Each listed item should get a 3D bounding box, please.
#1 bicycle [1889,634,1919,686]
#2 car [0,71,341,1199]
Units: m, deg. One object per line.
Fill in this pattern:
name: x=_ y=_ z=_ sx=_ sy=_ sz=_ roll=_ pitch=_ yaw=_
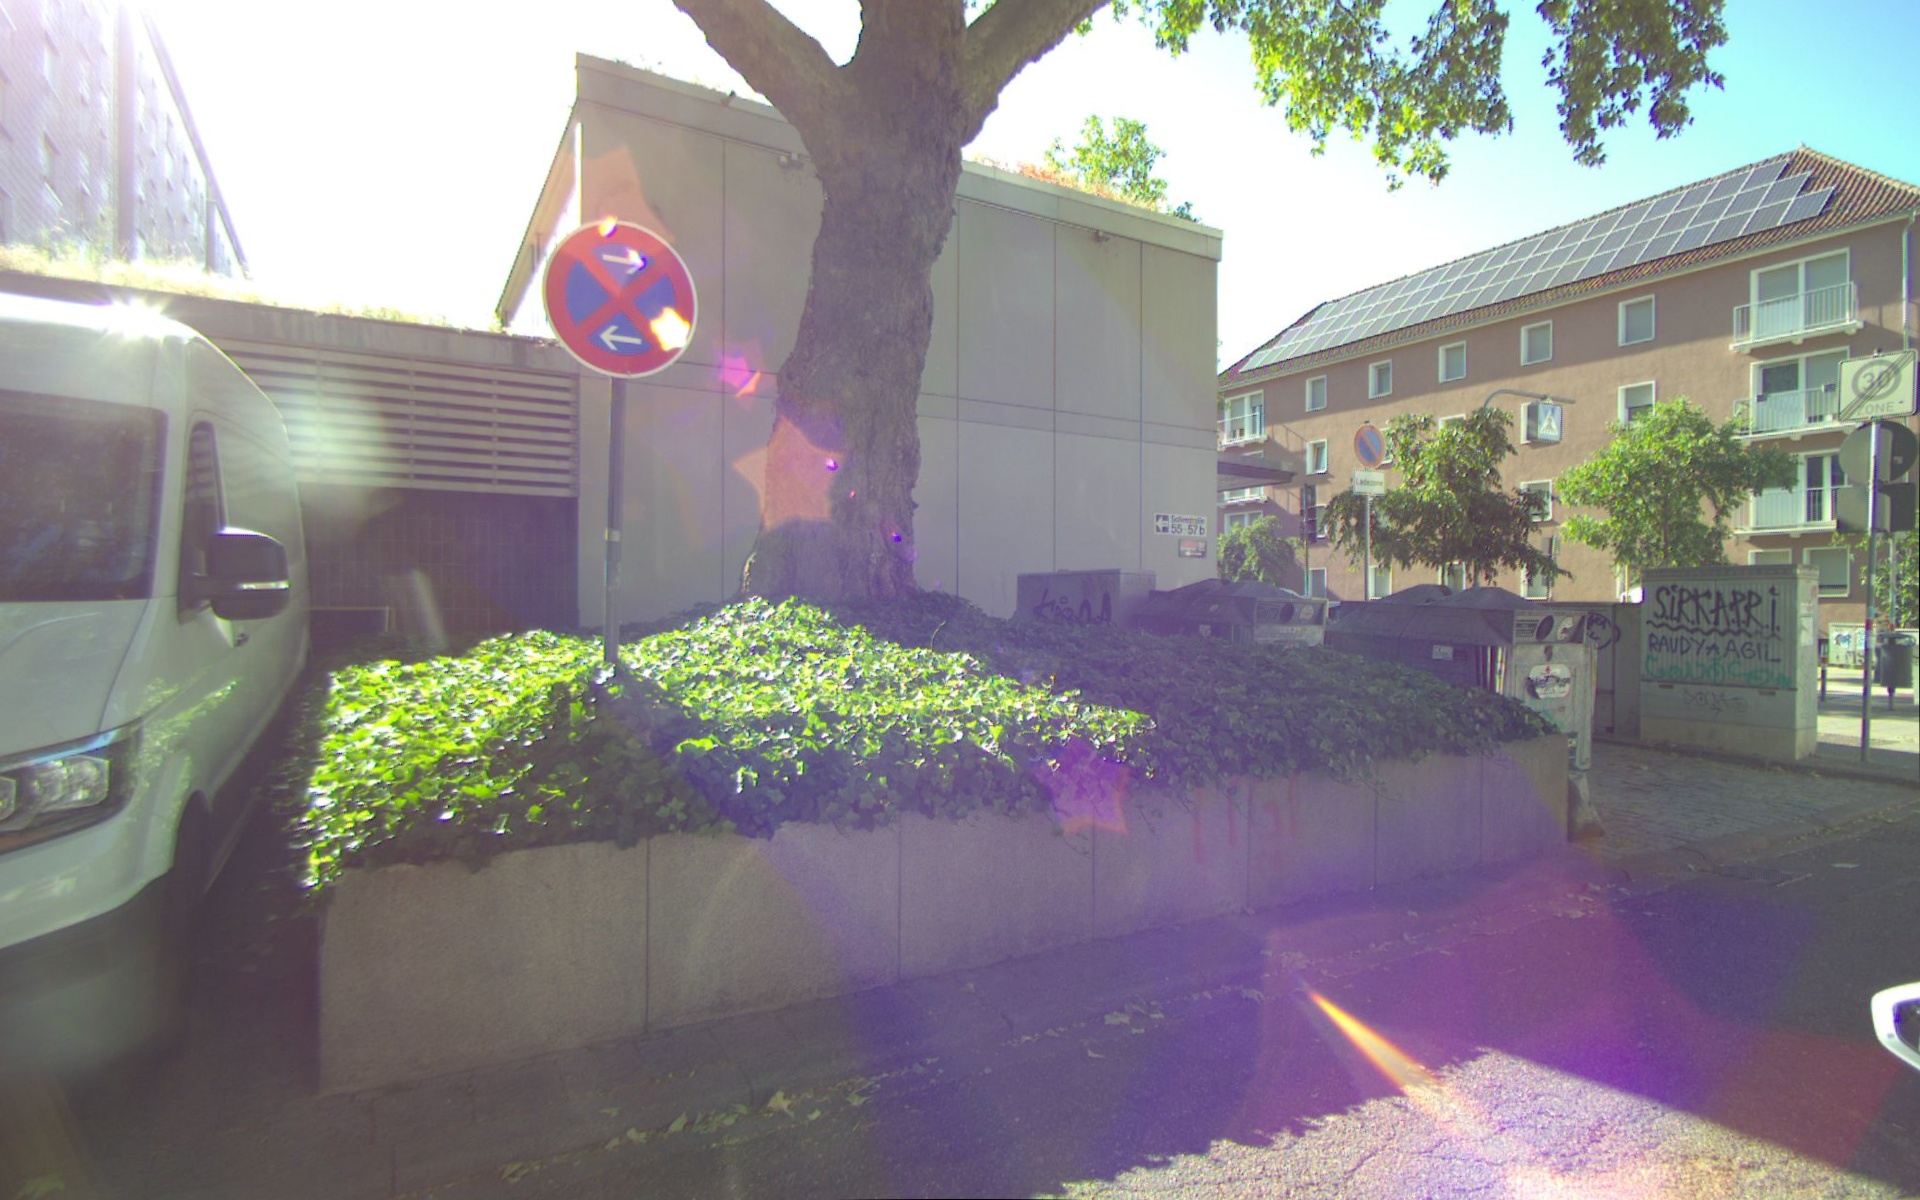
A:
bicycle: x=20.880 y=1.272 z=20.813 sx=0.776 sy=1.094 sz=2.429 roll=1 pitch=-1 yaw=-10
car: x=-4.430 y=-0.018 z=4.738 sx=2.119 sy=2.589 sz=6.709 roll=1 pitch=2 yaw=-28
